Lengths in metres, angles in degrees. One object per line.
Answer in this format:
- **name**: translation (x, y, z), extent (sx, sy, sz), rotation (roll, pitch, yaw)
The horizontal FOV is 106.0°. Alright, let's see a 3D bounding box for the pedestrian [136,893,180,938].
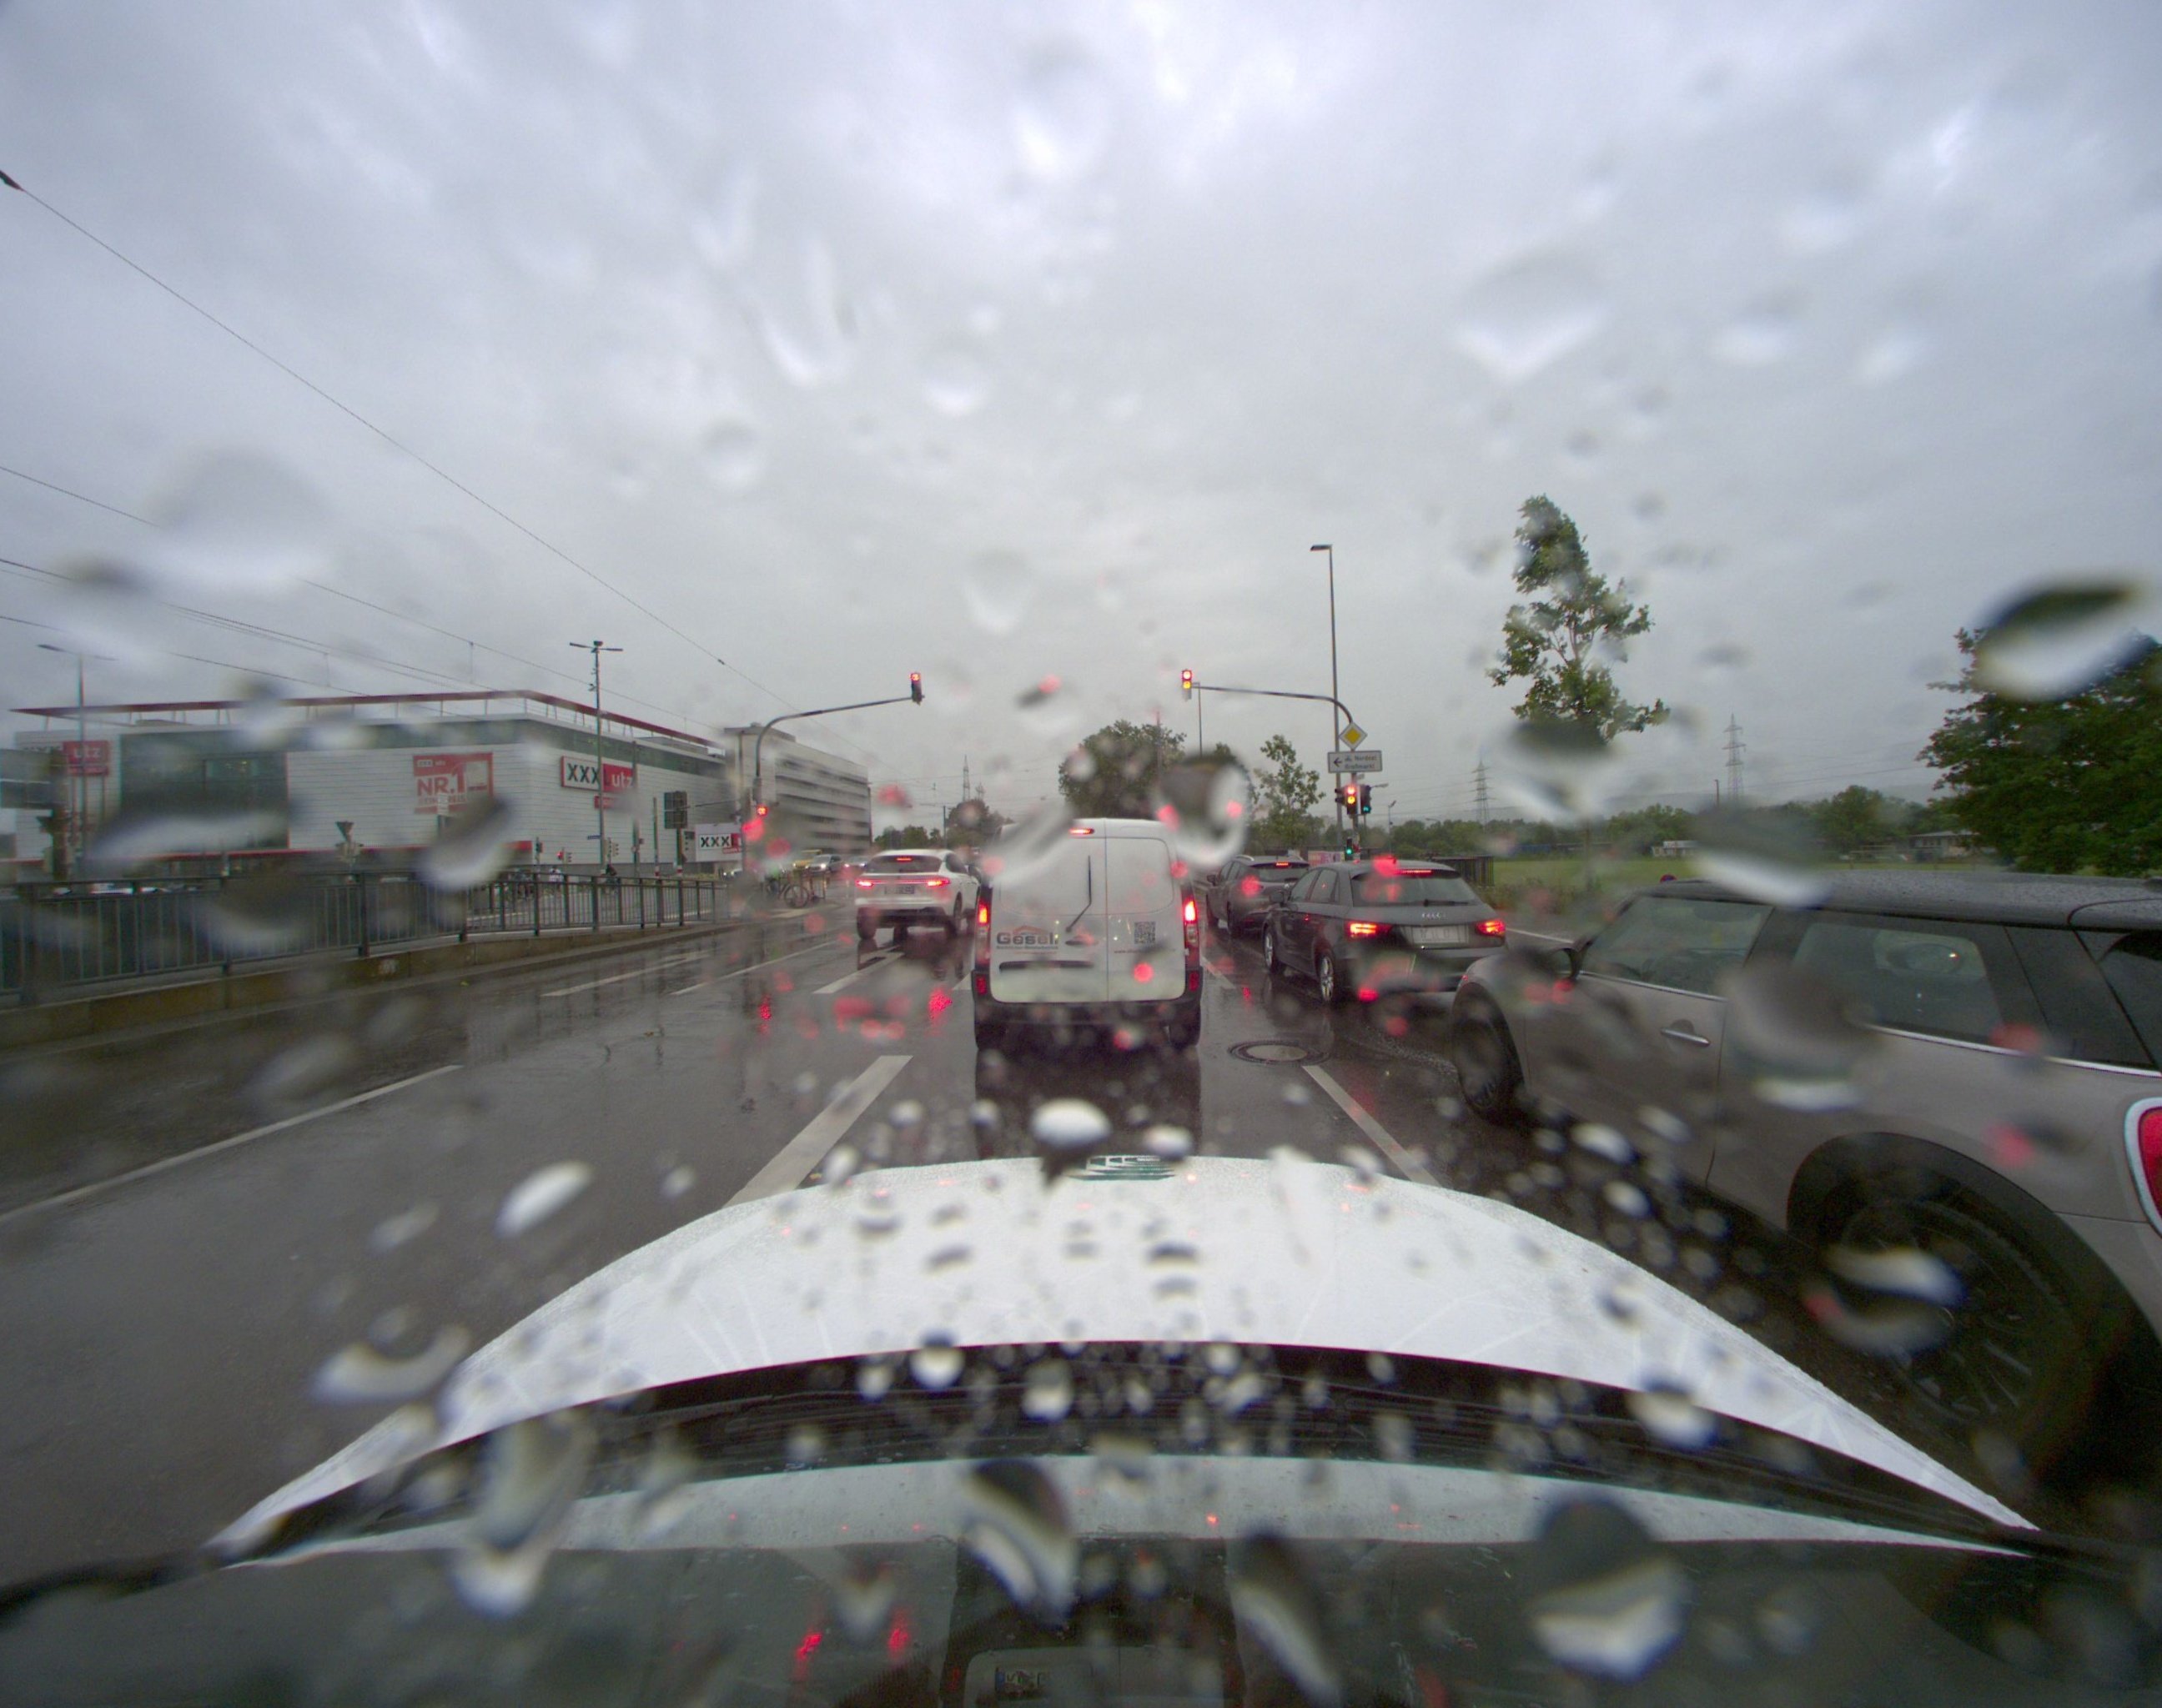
- **pedestrian**: translation (-33.090, 2.201, 29.207), extent (0.561, 1.537, 0.872), rotation (0, -1, 1)

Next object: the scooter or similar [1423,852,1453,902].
- **scooter or similar**: translation (8.469, 0.527, 19.362), extent (0.244, 1.158, 1.187), rotation (0, -1, 3)

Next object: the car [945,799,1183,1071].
- **car**: translation (-0.050, 0.549, 7.418), extent (1.560, 1.788, 4.002), rotation (-1, 0, 2)

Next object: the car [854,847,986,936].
- **car**: translation (-3.058, 0.632, 16.342), extent (1.723, 1.535, 4.298), rotation (0, 0, 1)

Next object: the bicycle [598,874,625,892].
- **bicycle**: translation (-26.427, 1.608, 45.873), extent (0.448, 0.987, 1.710), rotation (0, -1, 3)

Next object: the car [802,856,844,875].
- **car**: translation (-19.396, 0.854, 61.297), extent (1.579, 1.336, 3.837), rotation (0, -1, 6)

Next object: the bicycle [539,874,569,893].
- **bicycle**: translation (-29.048, 1.640, 44.899), extent (0.448, 0.987, 1.710), rotation (0, -1, 3)

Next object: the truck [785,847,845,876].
- **truck**: translation (-22.508, 0.639, 69.332), extent (2.342, 2.279, 7.637), rotation (0, 0, 2)

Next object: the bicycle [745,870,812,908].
- **bicycle**: translation (-8.833, 1.023, 23.831), extent (1.745, 1.034, 0.414), rotation (2, -1, 0)

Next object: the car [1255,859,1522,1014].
- **car**: translation (3.090, 0.735, 8.971), extent (1.623, 1.344, 3.624), rotation (0, 0, 1)

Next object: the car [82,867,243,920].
- **car**: translation (-37.231, 1.576, 33.090), extent (4.298, 2.014, 2.001), rotation (0, -1, 1)

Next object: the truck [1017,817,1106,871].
- **truck**: translation (-0.966, -0.484, 46.451), extent (2.610, 2.816, 7.181), rotation (-1, -1, 20)

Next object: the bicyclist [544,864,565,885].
- **bicyclist**: translation (-29.054, 1.139, 44.956), extent (0.681, 1.134, 0.647), rotation (0, -1, 3)

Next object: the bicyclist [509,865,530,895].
- **bicyclist**: translation (-27.309, 1.262, 39.608), extent (0.531, 1.399, 0.650), rotation (0, -1, -1)

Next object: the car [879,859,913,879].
- **car**: translation (-17.660, 1.439, 78.025), extent (1.919, 1.827, 4.007), rotation (0, -1, 6)

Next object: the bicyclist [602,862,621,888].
- **bicyclist**: translation (-26.423, 1.166, 45.824), extent (0.681, 1.464, 0.647), rotation (0, -1, 3)

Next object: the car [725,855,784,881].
- **car**: translation (-20.253, 0.851, 50.620), extent (1.689, 1.492, 3.884), rotation (0, -1, 7)

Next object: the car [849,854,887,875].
- **car**: translation (-18.432, 0.893, 70.726), extent (1.883, 1.699, 4.006), rotation (0, -1, 6)

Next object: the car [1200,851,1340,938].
- **car**: translation (3.454, 0.681, 15.612), extent (1.853, 1.428, 3.808), rotation (0, 0, 1)

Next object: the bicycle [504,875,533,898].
- **bicycle**: translation (-27.338, 1.588, 39.592), extent (0.409, 1.061, 1.508), rotation (0, -1, -1)

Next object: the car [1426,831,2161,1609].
- **car**: translation (2.970, 0.704, 3.227), extent (1.707, 1.508, 3.624), rotation (0, 0, 1)
